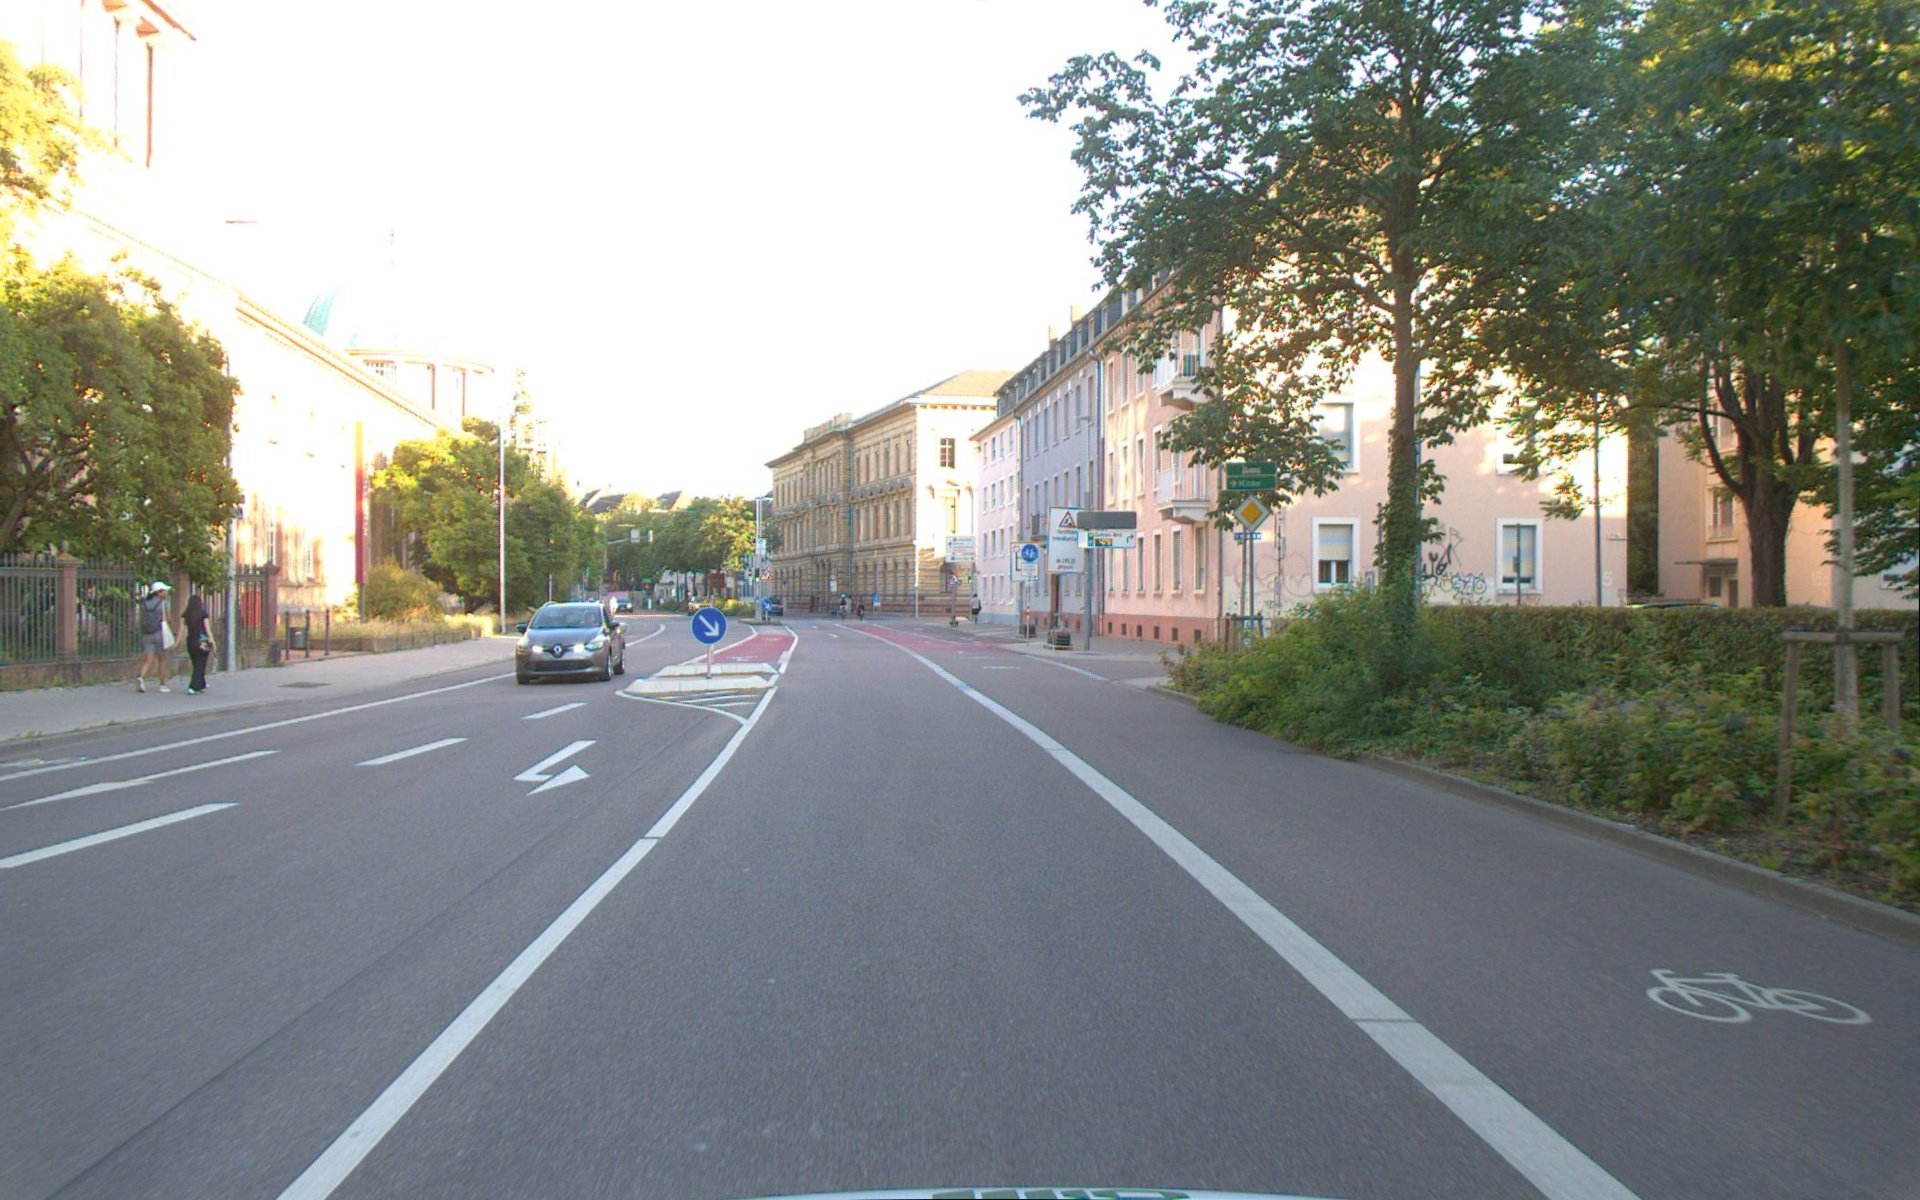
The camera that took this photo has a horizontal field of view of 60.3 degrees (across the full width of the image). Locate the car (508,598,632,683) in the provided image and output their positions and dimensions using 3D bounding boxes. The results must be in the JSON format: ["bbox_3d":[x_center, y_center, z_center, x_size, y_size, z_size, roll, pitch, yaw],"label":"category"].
[{"bbox_3d":[-7.391,0.719,31.657,1.800,1.464,3.994,-2,0,-6],"label":"car"}]

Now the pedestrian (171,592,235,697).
[{"bbox_3d":[-12.073,0.702,26.383,0.666,1.651,0.689,0,0,5],"label":"pedestrian"}]

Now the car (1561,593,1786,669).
[{"bbox_3d":[15.771,0.663,36.705,4.155,1.507,1.871,-2,0,0],"label":"car"}]

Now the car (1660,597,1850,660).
[{"bbox_3d":[21.231,0.739,44.272,4.154,1.507,1.871,-2,0,1],"label":"car"}]

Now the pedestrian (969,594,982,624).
[{"bbox_3d":[0.903,0.537,97.799,0.746,1.785,0.845,0,0,1],"label":"pedestrian"}]

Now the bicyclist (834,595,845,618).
[{"bbox_3d":[-7.941,0.449,108.782,0.639,1.471,0.879,2,0,-3],"label":"bicyclist"}]

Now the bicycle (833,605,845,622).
[{"bbox_3d":[-7.960,0.894,108.687,0.639,1.033,2.197,2,0,-2],"label":"bicycle"}]

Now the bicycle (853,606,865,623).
[{"bbox_3d":[-6.631,0.954,108.783,0.639,1.033,2.197,2,0,-2],"label":"bicycle"}]

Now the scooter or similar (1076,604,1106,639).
[{"bbox_3d":[5.192,0.829,65.536,0.618,1.360,2.395,1,0,-9],"label":"scooter or similar"}]

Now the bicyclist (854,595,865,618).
[{"bbox_3d":[-6.611,0.421,108.791,0.639,1.501,0.940,2,0,-2],"label":"bicyclist"}]

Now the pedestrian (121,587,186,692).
[{"bbox_3d":[-12.833,0.622,26.323,0.666,1.651,0.689,0,0,4],"label":"pedestrian"}]

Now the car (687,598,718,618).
[{"bbox_3d":[-20.702,0.627,132.975,1.962,1.613,3.982,1,0,-17],"label":"car"}]

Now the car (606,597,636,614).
[{"bbox_3d":[-33.418,0.518,162.811,1.969,1.613,3.966,1,0,-26],"label":"car"}]

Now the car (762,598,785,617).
[{"bbox_3d":[-15.891,0.608,140.791,1.832,1.536,3.993,1,0,-8],"label":"car"}]
